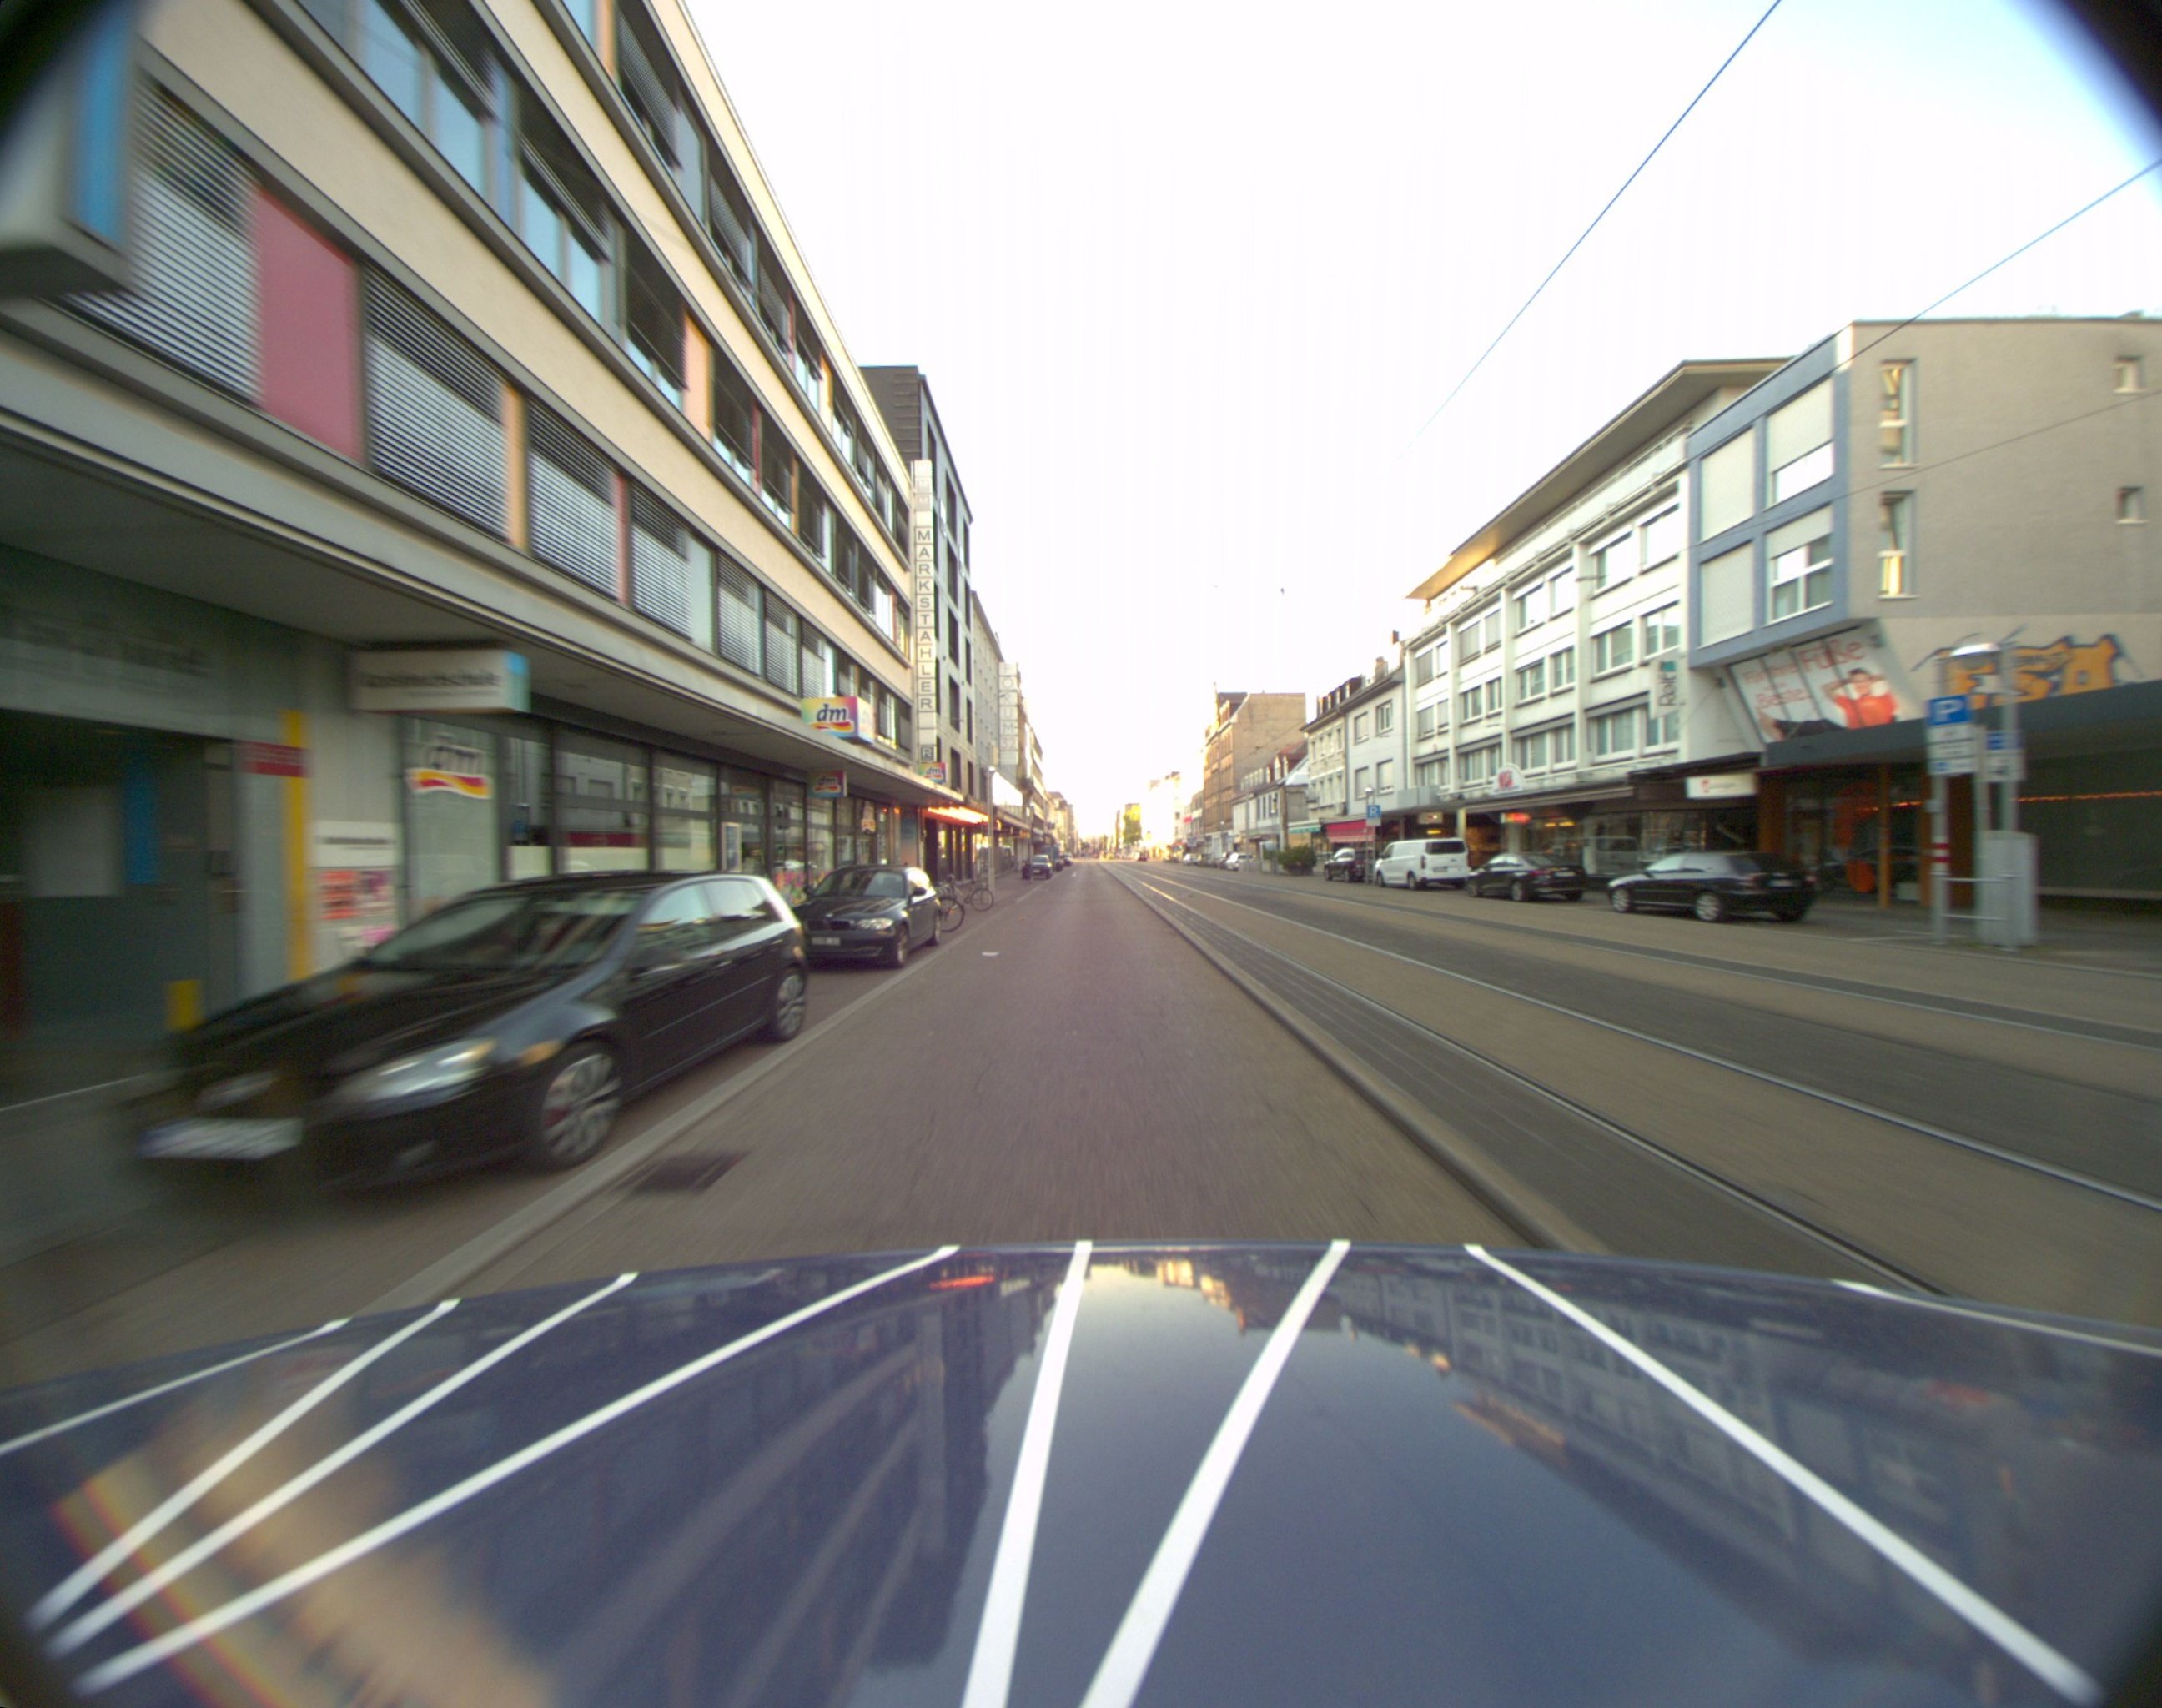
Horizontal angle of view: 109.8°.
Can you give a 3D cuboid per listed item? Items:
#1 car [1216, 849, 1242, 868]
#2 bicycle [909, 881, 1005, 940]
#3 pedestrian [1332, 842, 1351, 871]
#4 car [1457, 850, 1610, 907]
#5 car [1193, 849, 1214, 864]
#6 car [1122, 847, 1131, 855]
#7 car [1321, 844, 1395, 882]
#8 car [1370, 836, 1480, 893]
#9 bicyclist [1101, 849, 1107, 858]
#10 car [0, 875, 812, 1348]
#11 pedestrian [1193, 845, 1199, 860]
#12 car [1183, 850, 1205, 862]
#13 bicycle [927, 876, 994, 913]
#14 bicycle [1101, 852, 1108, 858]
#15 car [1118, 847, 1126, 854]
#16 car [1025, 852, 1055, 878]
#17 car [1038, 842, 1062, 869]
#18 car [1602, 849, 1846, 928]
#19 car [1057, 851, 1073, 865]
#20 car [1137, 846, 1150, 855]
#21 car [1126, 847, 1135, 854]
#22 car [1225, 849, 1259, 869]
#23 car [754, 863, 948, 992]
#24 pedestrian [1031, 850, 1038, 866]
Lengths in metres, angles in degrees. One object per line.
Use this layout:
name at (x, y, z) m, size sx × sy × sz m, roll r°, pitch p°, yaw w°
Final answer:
car at (13.591, 0.419, 70.024) m, size 1.660 × 1.562 × 3.470 m, roll -3°, pitch 1°, yaw 1°
bicycle at (-2.511, 1.138, 15.556) m, size 1.844 × 1.103 × 0.642 m, roll -2°, pitch 1°, yaw -2°
pedestrian at (16.137, 0.142, 47.090) m, size 0.819 × 1.772 × 0.818 m, roll -3°, pitch 1°, yaw 1°
car at (13.416, 0.644, 22.911) m, size 1.876 × 1.418 × 4.570 m, roll -3°, pitch 1°, yaw 1°
car at (13.782, 0.259, 85.618) m, size 1.846 × 1.484 × 3.815 m, roll -3°, pitch 1°, yaw 1°
car at (12.185, -0.835, 202.012) m, size 1.998 × 1.830 × 3.999 m, roll -3°, pitch 2°, yaw 0°
car at (13.731, 0.393, 37.910) m, size 1.998 × 1.687 × 4.588 m, roll -3°, pitch 1°, yaw 1°
car at (13.553, 0.341, 30.351) m, size 1.969 × 2.002 × 5.099 m, roll -3°, pitch 1°, yaw 0°
bicyclist at (4.809, -0.186, 156.841) m, size 0.884 × 1.795 × 0.898 m, roll -3°, pitch 1°, yaw -29°
car at (-3.375, 1.009, 4.808) m, size 1.769 × 1.505 × 4.071 m, roll -3°, pitch 1°, yaw 1°
pedestrian at (16.798, -0.226, 110.747) m, size 0.748 × 2.002 × 1.049 m, roll -3°, pitch 1°, yaw 5°
car at (14.469, 0.288, 97.831) m, size 1.999 × 1.412 × 4.402 m, roll -3°, pitch 1°, yaw -2°
bicycle at (-3.359, 1.131, 21.300) m, size 1.799 × 0.967 × 0.575 m, roll 1°, pitch 1°, yaw -2°
bicycle at (4.861, 0.300, 156.885) m, size 0.494 × 1.183 × 2.260 m, roll -3°, pitch 1°, yaw -28°
car at (11.723, -1.022, 217.931) m, size 1.998 × 1.685 × 3.999 m, roll -3°, pitch 1°, yaw 0°
car at (-2.641, 0.699, 49.871) m, size 1.744 × 1.532 × 3.965 m, roll -1°, pitch 1°, yaw 0°
car at (-2.900, 0.104, 72.149) m, size 2.080 × 2.434 × 5.603 m, roll -3°, pitch 1°, yaw -1°
car at (13.354, 0.631, 16.173) m, size 1.794 × 1.452 × 4.091 m, roll -1°, pitch 0°, yaw 2°
car at (-2.067, 0.505, 101.411) m, size 1.998 × 1.663 × 3.876 m, roll -3°, pitch 1°, yaw 0°
car at (11.609, -0.582, 140.451) m, size 1.998 × 1.554 × 3.999 m, roll -3°, pitch 1°, yaw 0°
car at (12.199, -0.888, 187.069) m, size 1.998 × 1.434 × 3.999 m, roll -3°, pitch 1°, yaw 0°
car at (13.720, 0.411, 65.071) m, size 1.896 × 1.547 × 4.622 m, roll -3°, pitch 1°, yaw 1°
car at (-3.279, 0.964, 11.689) m, size 1.658 × 1.454 × 4.022 m, roll -3°, pitch 1°, yaw 1°
pedestrian at (-4.964, 0.412, 81.593) m, size 0.743 × 1.746 × 0.789 m, roll 1°, pitch 1°, yaw -3°
